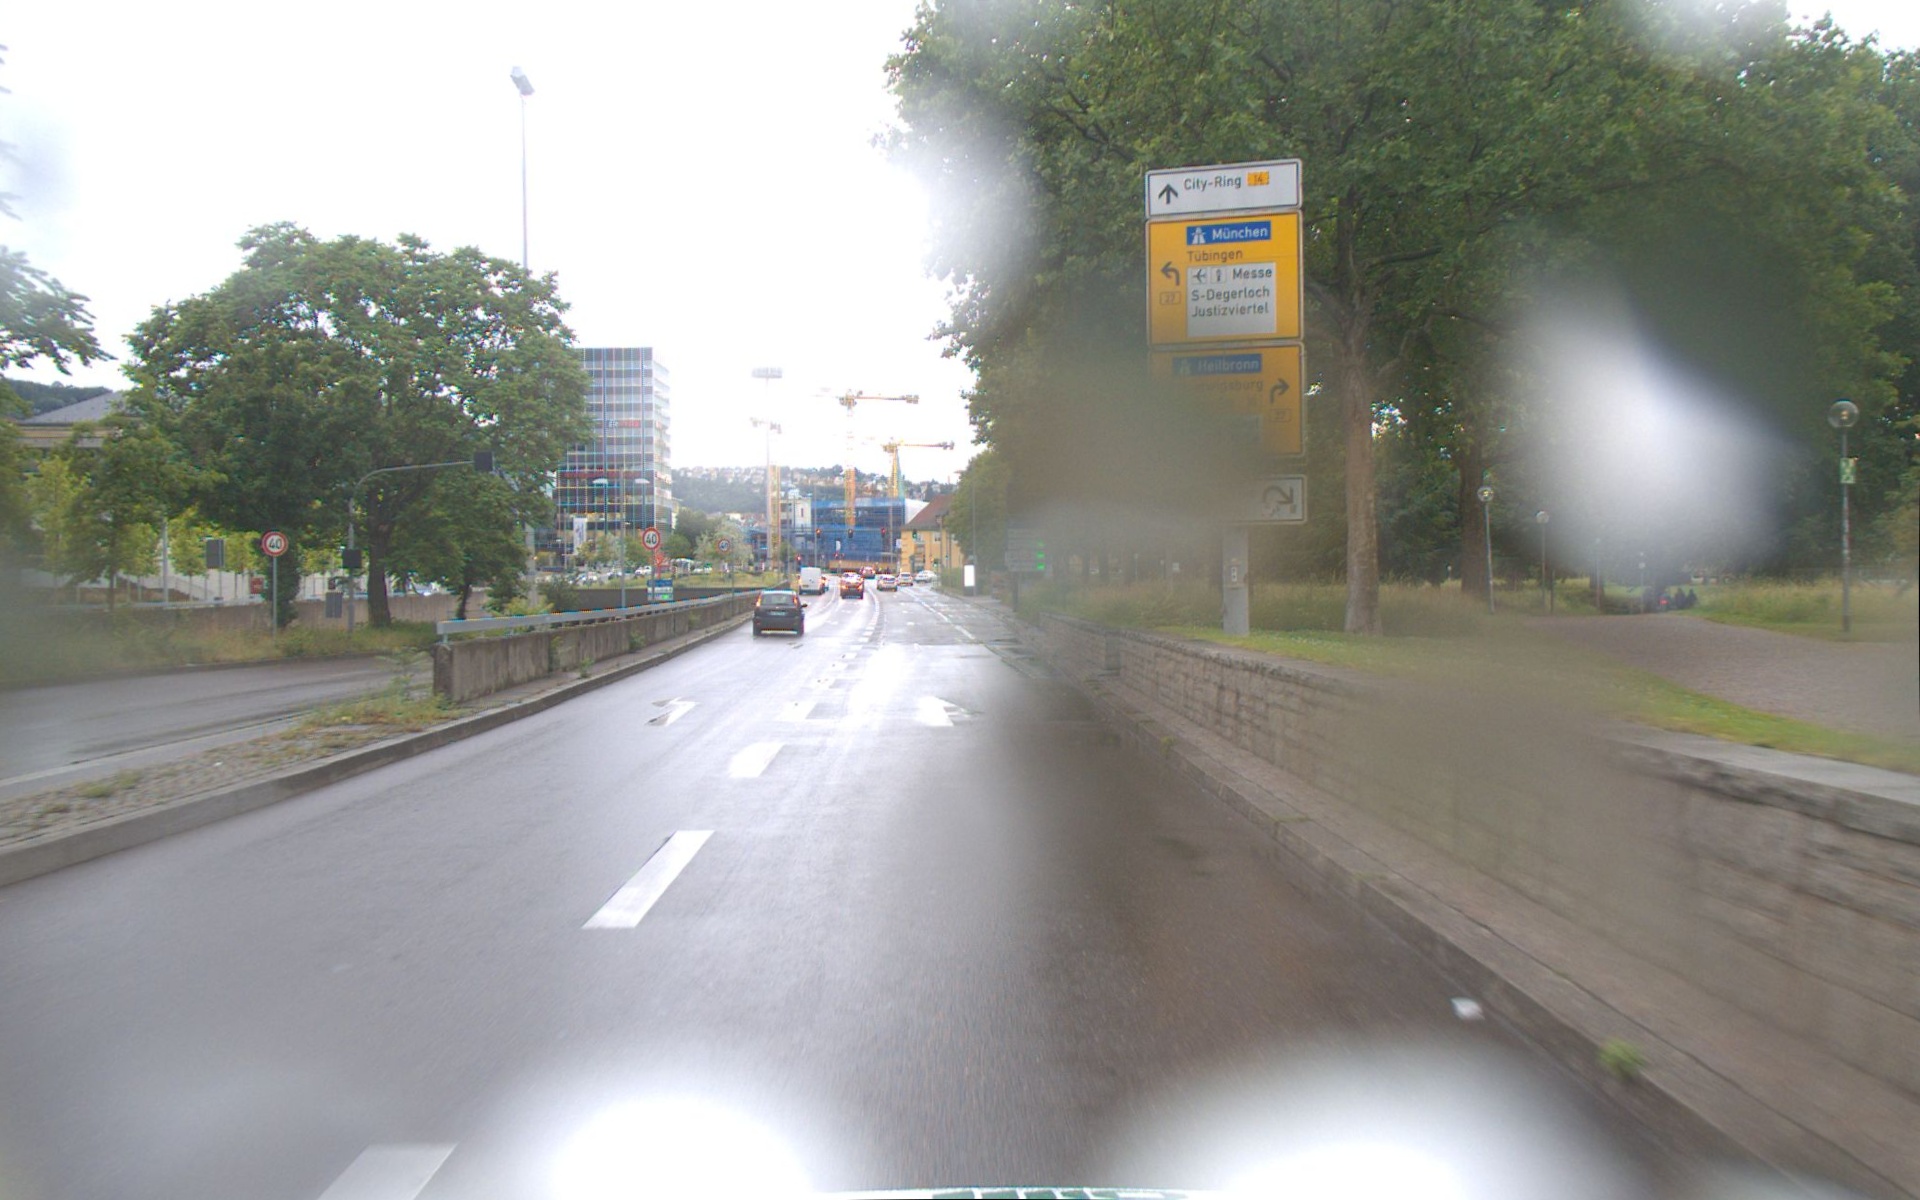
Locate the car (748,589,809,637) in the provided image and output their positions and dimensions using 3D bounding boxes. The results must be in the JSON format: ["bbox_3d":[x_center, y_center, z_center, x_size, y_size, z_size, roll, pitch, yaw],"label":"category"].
[{"bbox_3d":[-6.038,0.446,54.736,1.810,1.441,3.831,-2,0,-9],"label":"car"}]

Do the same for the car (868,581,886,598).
[{"bbox_3d":[-8.570,-1.073,171.737,1.678,1.719,3.848,-2,0,-1],"label":"car"}]

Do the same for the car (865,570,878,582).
[{"bbox_3d":[-12.417,-3.317,231.461,1.686,1.584,3.583,-1,0,-1],"label":"car"}]

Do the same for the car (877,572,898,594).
[{"bbox_3d":[-7.189,-1.679,163.926,1.947,2.049,3.999,-2,0,-1],"label":"car"}]

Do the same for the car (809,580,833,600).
[{"bbox_3d":[-13.687,-0.938,162.903,1.953,1.813,3.999,-2,0,-1],"label":"car"}]

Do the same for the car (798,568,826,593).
[{"bbox_3d":[-13.030,-1.683,145.799,2.175,2.049,3.999,-2,0,-1],"label":"car"}]

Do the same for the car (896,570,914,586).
[{"bbox_3d":[-6.336,-2.518,190.243,1.953,1.627,3.999,-2,0,-1],"label":"car"}]

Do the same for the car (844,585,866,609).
[{"bbox_3d":[-8.619,-0.236,135.820,1.705,1.802,3.997,-2,0,-4],"label":"car"}]
